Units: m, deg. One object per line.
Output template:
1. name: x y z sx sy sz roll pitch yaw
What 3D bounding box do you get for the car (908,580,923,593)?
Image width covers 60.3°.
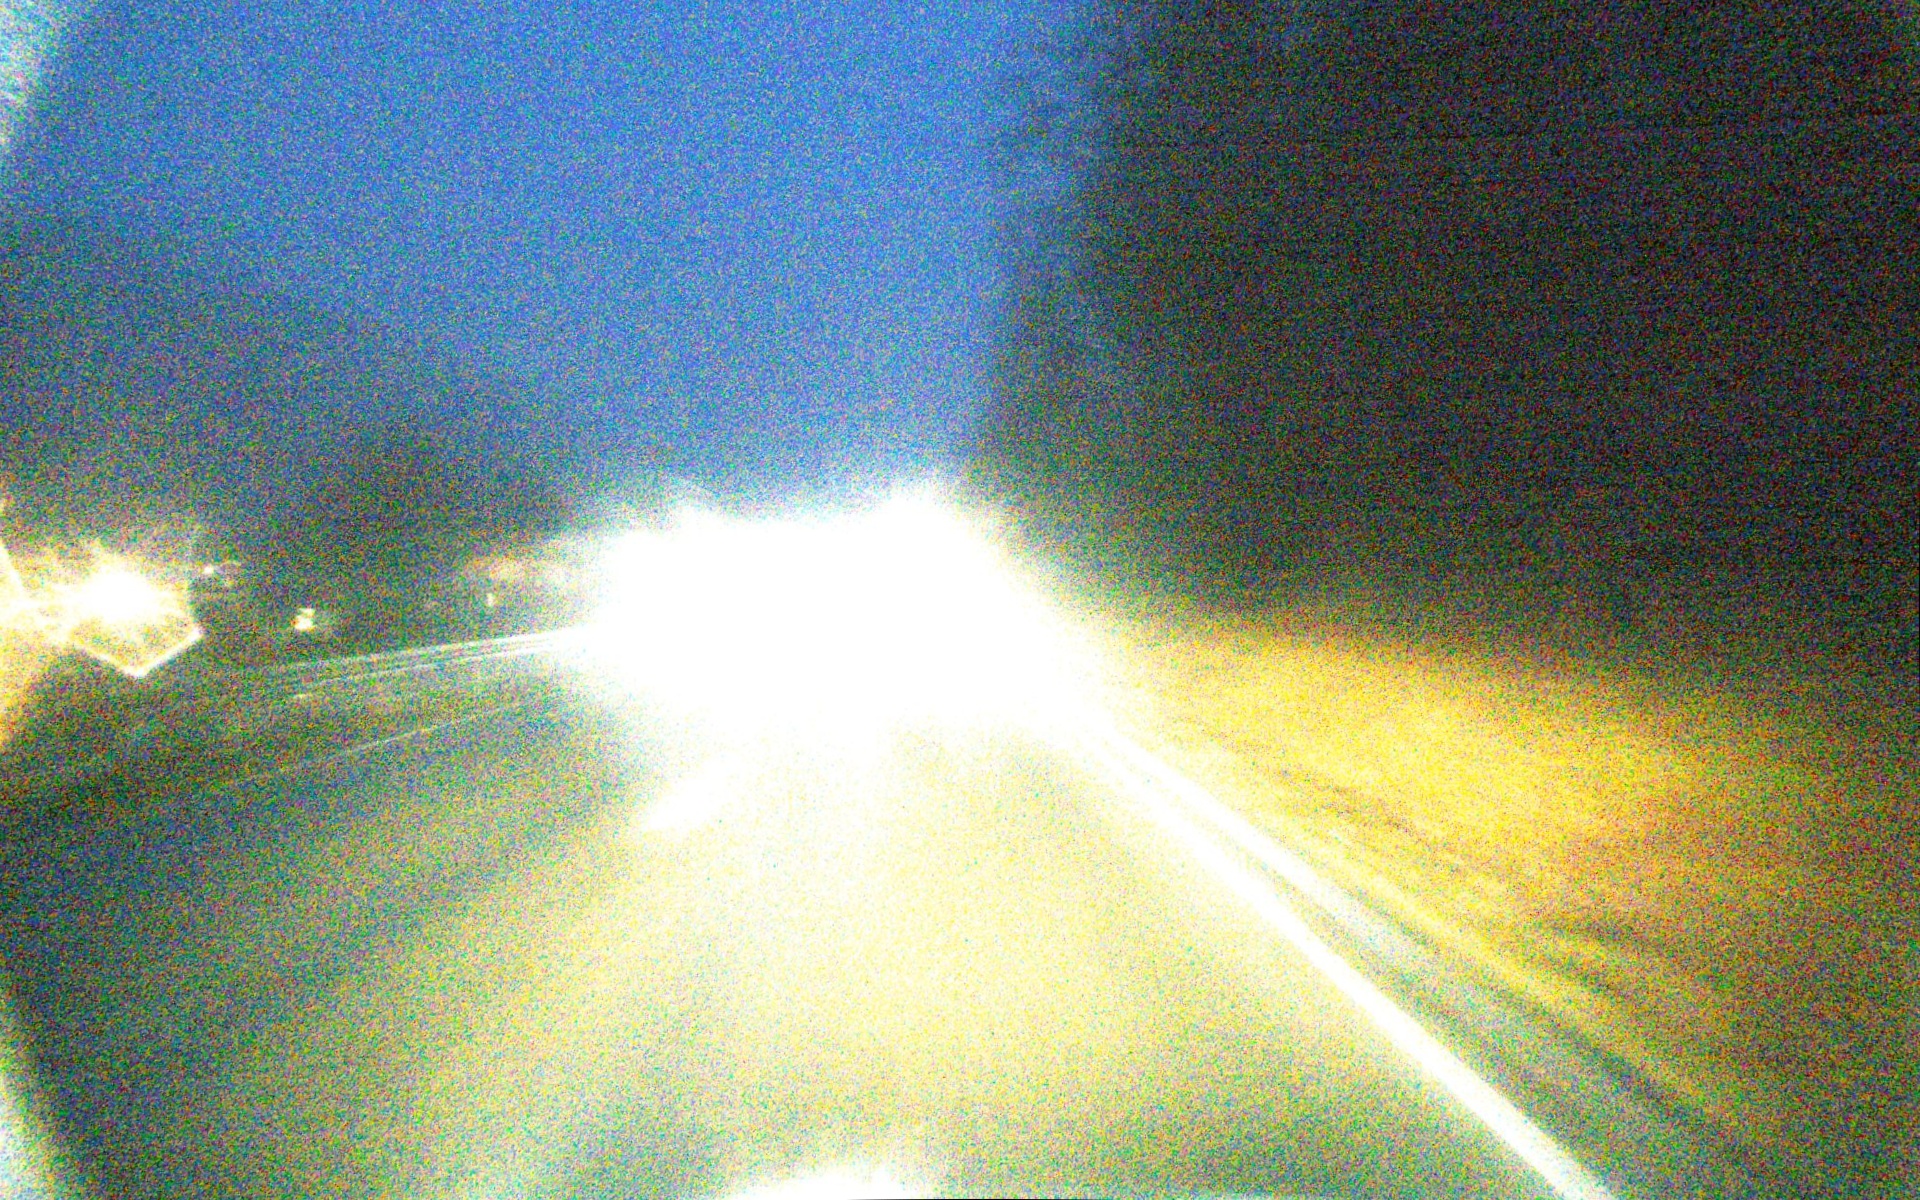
1. car: -6.096 -1.813 227.154 1.953 1.695 3.999 1 0 -1

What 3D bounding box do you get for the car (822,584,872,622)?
1. car: -5.129 0.116 75.353 2.055 1.668 4.454 0 0 -1
